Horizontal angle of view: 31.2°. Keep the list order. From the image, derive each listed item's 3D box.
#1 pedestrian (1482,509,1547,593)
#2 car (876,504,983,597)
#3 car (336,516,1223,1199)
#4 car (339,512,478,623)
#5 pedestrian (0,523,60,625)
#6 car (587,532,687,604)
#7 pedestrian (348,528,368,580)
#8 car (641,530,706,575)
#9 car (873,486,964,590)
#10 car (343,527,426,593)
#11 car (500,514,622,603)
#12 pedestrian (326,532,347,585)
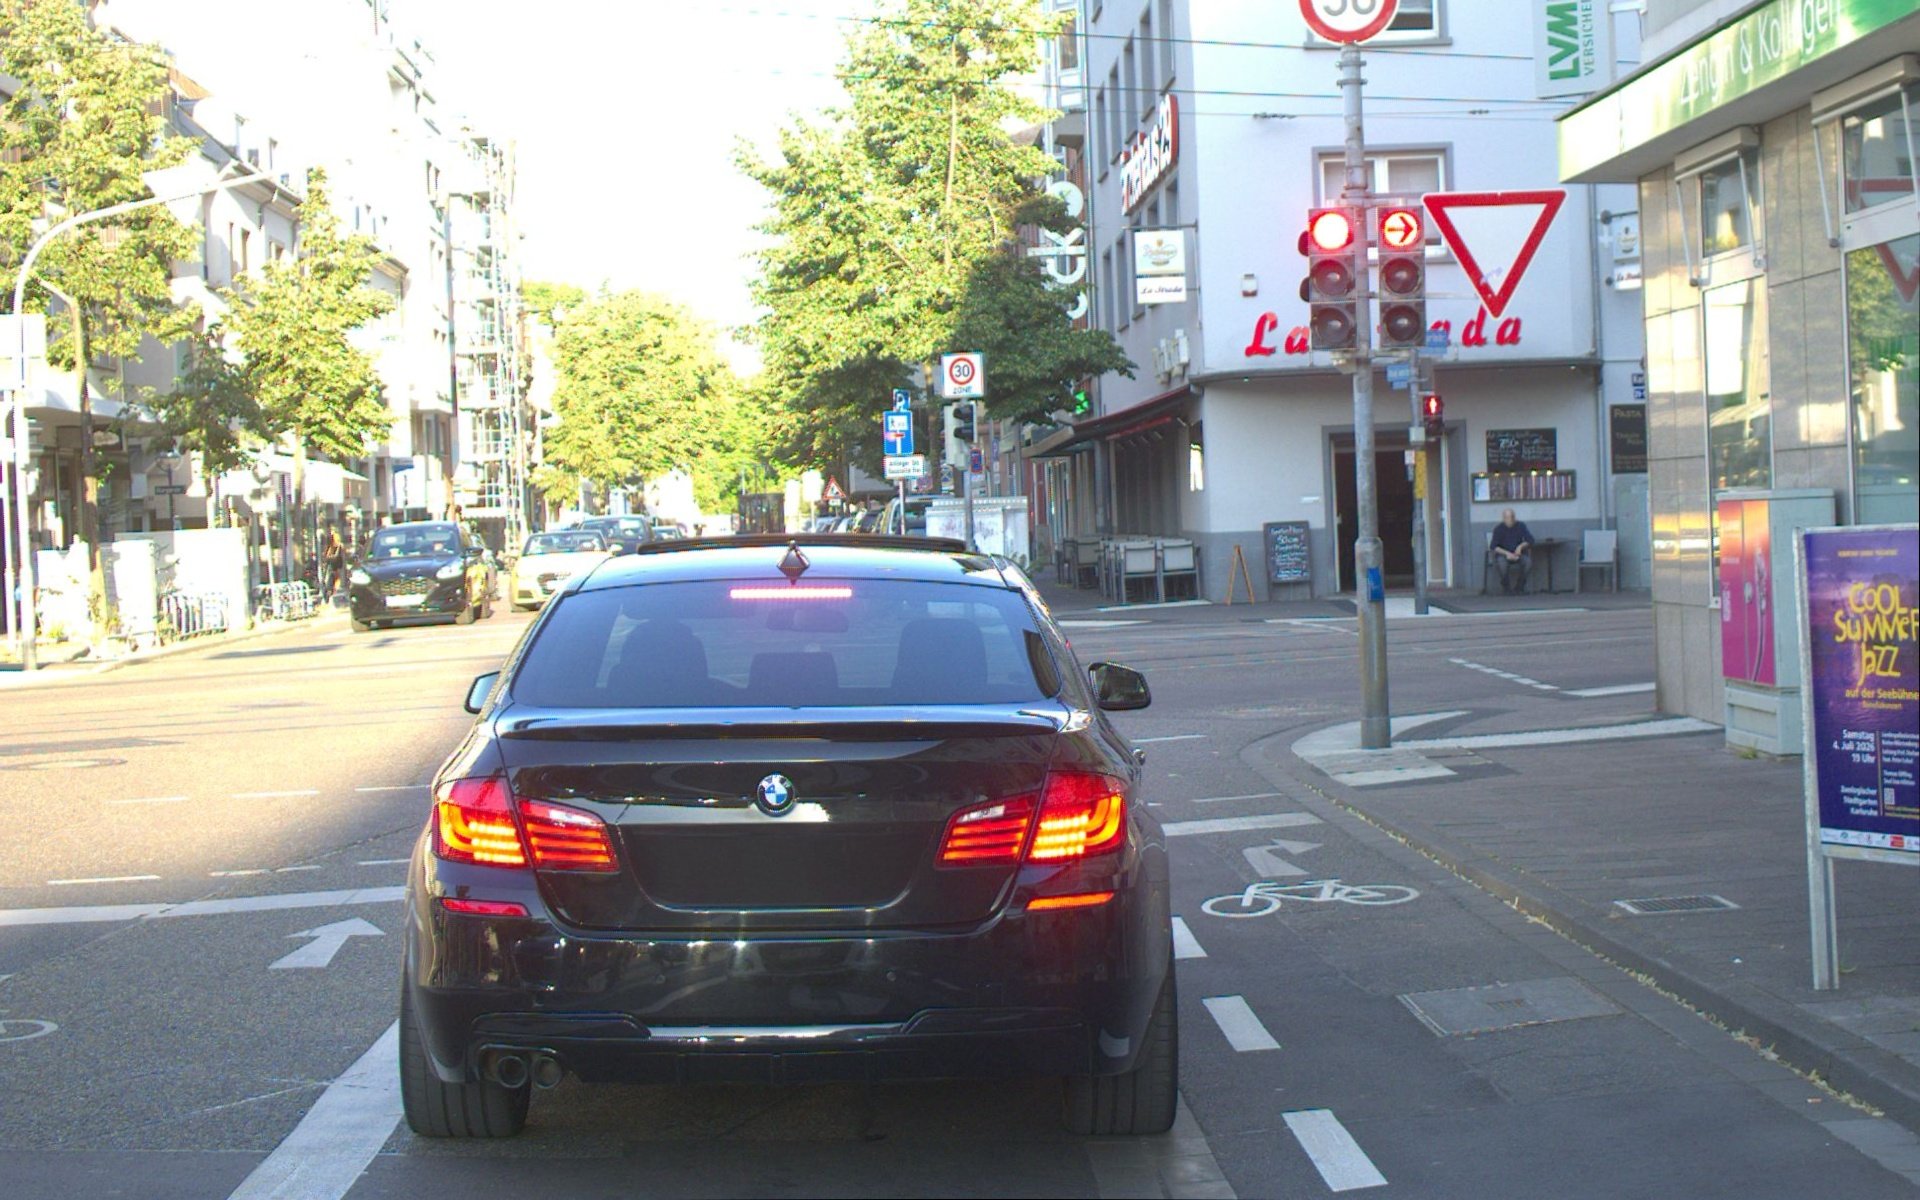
[{"bbox_3d":[7.782,-0.692,48.294,0.697,1.153,0.844,-2,1,-3],"label":"pedestrian"},{"bbox_3d":[-0.527,-0.818,56.582,1.625,1.466,3.395,-1,1,-2],"label":"car"},{"bbox_3d":[-0.498,0.544,9.632,1.903,1.535,4.450,0,2,-3],"label":"car"},{"bbox_3d":[-8.657,-0.543,54.202,1.993,1.612,4.001,-2,1,-7],"label":"car"},{"bbox_3d":[-15.701,-0.437,57.863,0.823,1.670,0.871,-2,1,-3],"label":"pedestrian"},{"bbox_3d":[-6.272,-0.638,66.428,1.733,1.288,4.001,-2,1,-7],"label":"car"},{"bbox_3d":[-16.433,-1.252,93.887,0.444,1.411,0.525,-2,1,-4],"label":"pedestrian"},{"bbox_3d":[-8.792,-1.454,105.350,1.733,1.288,4.001,-2,1,-7],"label":"car"},{"bbox_3d":[-0.782,-1.131,62.977,1.421,1.848,3.053,-1,1,-5],"label":"car"},{"bbox_3d":[-13.525,-0.971,80.992,1.733,1.456,4.001,-2,1,-7],"label":"car"},{"bbox_3d":[-6.953,-0.739,59.651,1.993,1.437,4.001,-2,1,-7],"label":"car"},{"bbox_3d":[-16.824,-1.113,92.807,0.444,1.411,0.525,-2,1,-4],"label":"pedestrian"}]
